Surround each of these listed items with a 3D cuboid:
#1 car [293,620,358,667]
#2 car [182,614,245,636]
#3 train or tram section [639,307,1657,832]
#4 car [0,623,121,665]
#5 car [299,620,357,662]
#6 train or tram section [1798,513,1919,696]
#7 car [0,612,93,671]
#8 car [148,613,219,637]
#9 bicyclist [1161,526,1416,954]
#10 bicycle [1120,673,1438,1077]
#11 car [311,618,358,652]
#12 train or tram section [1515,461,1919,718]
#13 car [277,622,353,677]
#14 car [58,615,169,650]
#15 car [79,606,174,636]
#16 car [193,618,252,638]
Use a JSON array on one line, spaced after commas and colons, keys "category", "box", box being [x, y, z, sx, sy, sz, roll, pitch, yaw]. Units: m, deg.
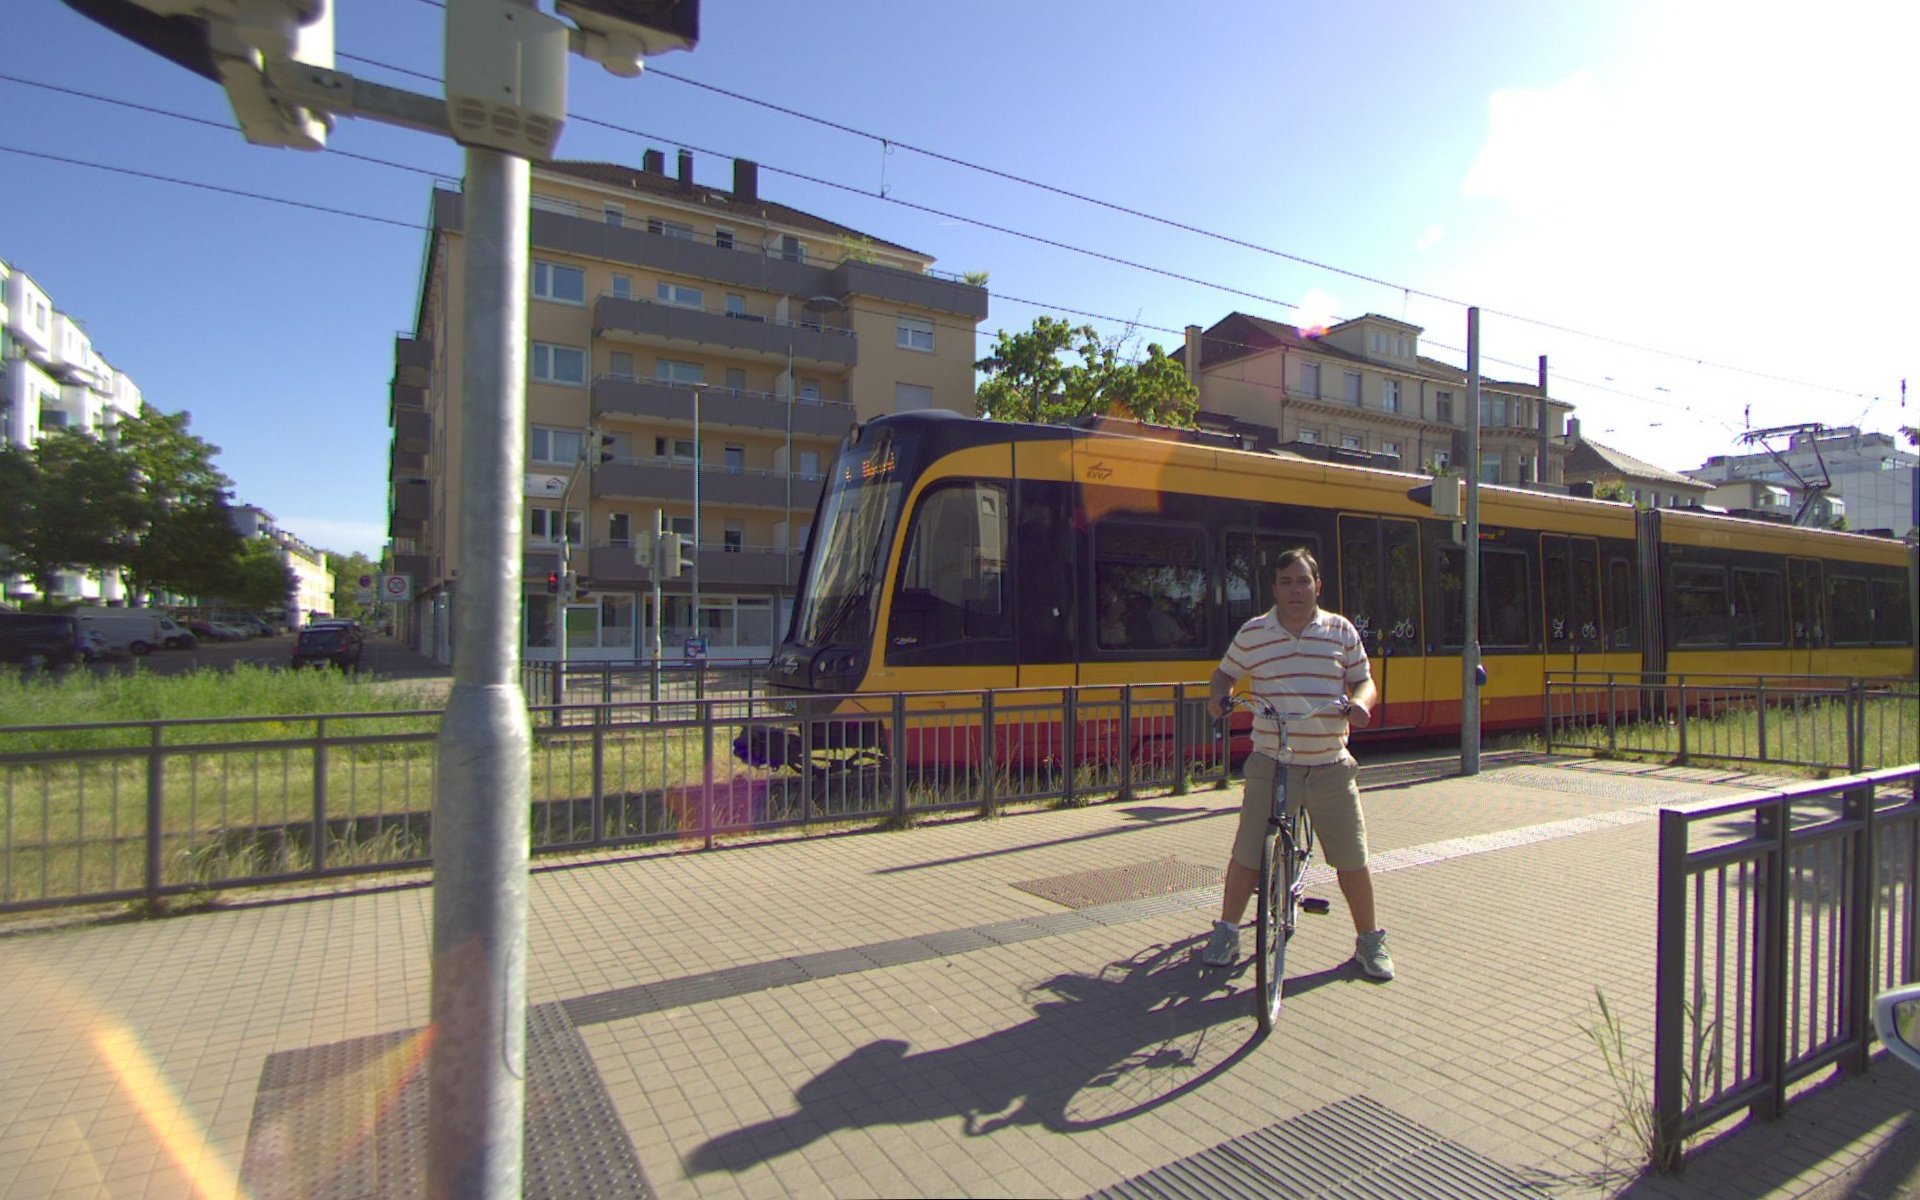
[{"category": "car", "box": [-24.390, 1.621, 38.698, 1.977, 1.639, 3.967, 1, 0, -31]}, {"category": "car", "box": [-59.912, 2.033, 80.707, 3.960, 1.662, 1.981, 1, 0, -35]}, {"category": "train or tram section", "box": [3.647, -0.078, 11.682, 13.994, 3.718, 1.983, 1, 0, -32]}, {"category": "car", "box": [-37.341, 1.779, 41.452, 3.958, 1.628, 1.981, 1, 0, -34]}, {"category": "car", "box": [-26.861, 1.718, 42.783, 1.977, 1.639, 3.967, 1, 0, -31]}, {"category": "train or tram section", "box": [23.914, 0.200, 24.238, 11.549, 3.718, 1.983, 1, 0, -31]}, {"category": "car", "box": [-33.384, 1.445, 35.426, 3.958, 1.996, 1.981, 1, 0, -34]}, {"category": "car", "box": [-56.625, 1.814, 73.324, 3.960, 1.662, 1.981, 1, 0, -35]}, {"category": "bicyclist", "box": [1.359, 0.503, 4.126, 0.815, 1.532, 0.728, 1, 0, 34]}, {"category": "bicycle", "box": [1.422, 0.916, 4.138, 0.722, 1.105, 2.077, 1, 0, 33]}, {"category": "car", "box": [-32.777, 1.804, 52.718, 1.977, 1.639, 3.967, 1, 0, -31]}, {"category": "train or tram section", "box": [14.256, -0.047, 18.304, 11.188, 3.718, 1.983, 1, 0, -32]}, {"category": "car", "box": [-21.481, 1.590, 33.586, 1.977, 1.639, 3.967, 1, 0, -31]}, {"category": "car", "box": [-41.896, 1.600, 49.843, 3.958, 1.662, 1.981, 1, 0, -34]}, {"category": "car", "box": [-47.876, 1.208, 57.792, 3.958, 1.662, 1.981, 1, 0, -34]}, {"category": "car", "box": [-63.225, 2.424, 86.186, 3.960, 1.662, 1.981, 1, 0, -35]}]
